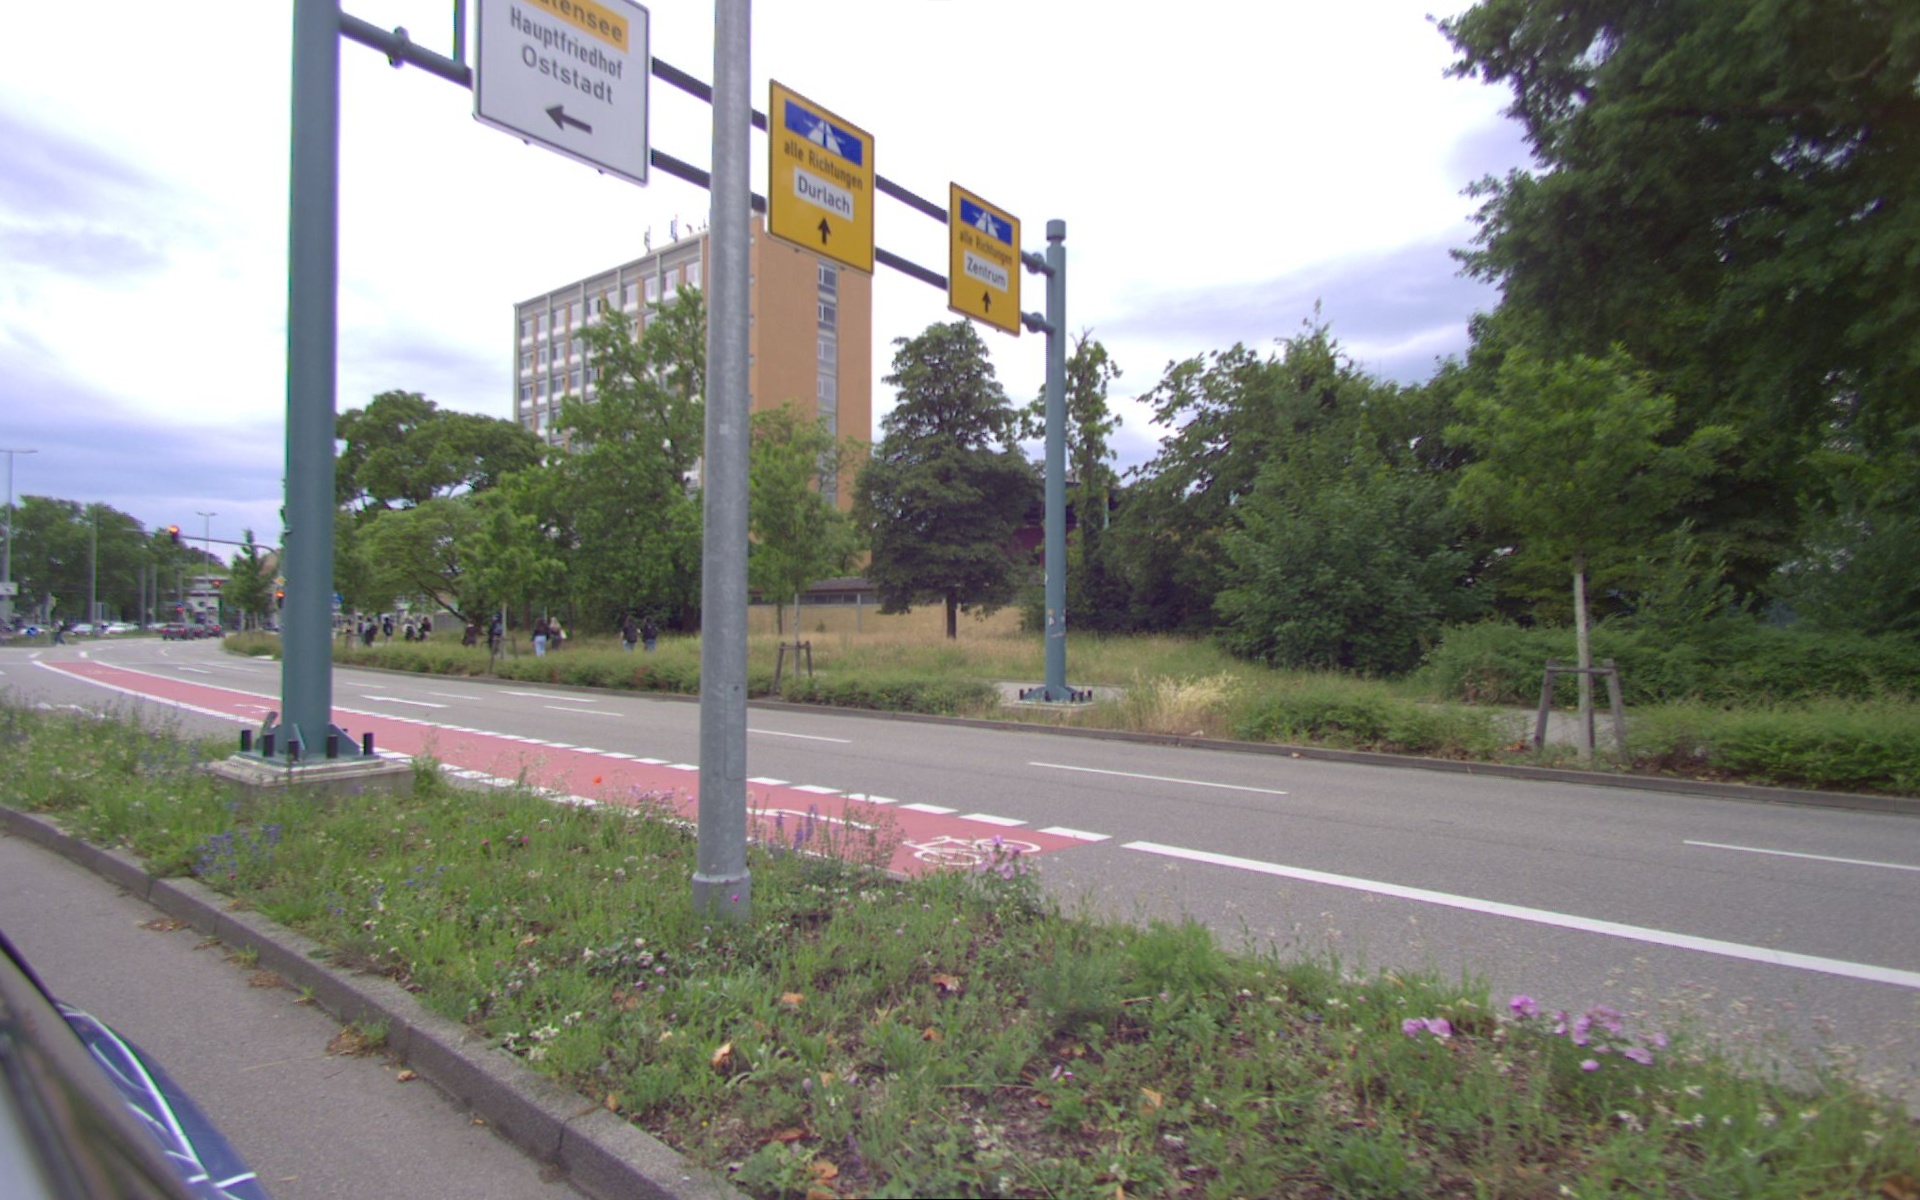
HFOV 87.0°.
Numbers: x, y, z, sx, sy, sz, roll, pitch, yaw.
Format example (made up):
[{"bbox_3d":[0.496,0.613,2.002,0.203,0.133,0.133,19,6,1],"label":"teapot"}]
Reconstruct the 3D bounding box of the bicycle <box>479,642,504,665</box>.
[{"bbox_3d":[-18.482,2.106,39.883,0.652,0.894,1.719,2,-3,-33],"label":"bicycle"}]

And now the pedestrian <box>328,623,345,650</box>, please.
[{"bbox_3d":[-38.292,2.238,62.193,0.698,1.683,0.944,1,-2,-44],"label":"pedestrian"}]

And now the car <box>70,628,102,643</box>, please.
[{"bbox_3d":[-96.239,3.934,111.501,1.582,1.608,3.771,2,-3,-23],"label":"car"}]

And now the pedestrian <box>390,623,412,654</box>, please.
[{"bbox_3d":[-29.848,2.053,54.012,0.824,1.625,0.630,-2,-1,21],"label":"pedestrian"}]

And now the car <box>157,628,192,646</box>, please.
[{"bbox_3d":[-74.299,3.491,95.744,1.785,1.680,3.962,2,-2,-26],"label":"car"}]

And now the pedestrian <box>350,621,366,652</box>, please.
[{"bbox_3d":[-35.429,2.149,59.594,0.630,1.815,0.762,1,-2,-44],"label":"pedestrian"}]

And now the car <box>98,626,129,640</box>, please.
[{"bbox_3d":[-100.462,3.893,120.116,1.774,1.608,3.771,2,-3,-23],"label":"car"}]

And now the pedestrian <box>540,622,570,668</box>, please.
[{"bbox_3d":[-14.943,1.653,37.327,0.766,1.685,0.700,-2,-4,36],"label":"pedestrian"}]

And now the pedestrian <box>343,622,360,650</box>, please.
[{"bbox_3d":[-37.827,2.216,62.870,0.698,1.683,0.890,-1,-1,-44],"label":"pedestrian"}]

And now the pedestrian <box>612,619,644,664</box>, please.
[{"bbox_3d":[-10.371,1.297,31.602,0.711,1.368,0.638,-2,-4,41],"label":"pedestrian"}]

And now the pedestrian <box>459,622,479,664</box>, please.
[{"bbox_3d":[-19.067,1.685,39.310,0.567,1.621,0.618,2,-3,-32],"label":"pedestrian"}]

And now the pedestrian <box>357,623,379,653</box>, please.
[{"bbox_3d":[-29.361,1.898,50.165,0.720,1.491,0.813,3,-4,-44],"label":"pedestrian"}]

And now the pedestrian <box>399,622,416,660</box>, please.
[{"bbox_3d":[-25.254,1.891,46.264,0.613,1.708,0.749,2,-3,-29],"label":"pedestrian"}]

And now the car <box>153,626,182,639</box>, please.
[{"bbox_3d":[-102.903,4.192,131.445,1.583,1.608,3.770,1,-3,-17],"label":"car"}]

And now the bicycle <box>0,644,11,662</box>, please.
[{"bbox_3d":[-63.558,3.456,66.251,0.807,1.151,1.977,-2,-4,44],"label":"bicycle"}]

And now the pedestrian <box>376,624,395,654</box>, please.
[{"bbox_3d":[-28.873,1.941,50.891,0.628,1.491,0.762,3,-4,-44],"label":"pedestrian"}]

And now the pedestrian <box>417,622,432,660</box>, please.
[{"bbox_3d":[-24.847,1.897,46.937,0.570,1.725,0.764,2,-3,-28],"label":"pedestrian"}]

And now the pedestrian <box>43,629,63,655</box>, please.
[{"bbox_3d":[-59.615,2.768,66.519,0.705,1.680,0.768,-1,-3,34],"label":"pedestrian"}]

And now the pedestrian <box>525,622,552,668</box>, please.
[{"bbox_3d":[-15.311,1.637,36.772,0.719,1.673,0.580,-2,-4,36],"label":"pedestrian"}]

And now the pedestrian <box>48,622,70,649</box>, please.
[{"bbox_3d":[-60.934,2.407,68.432,0.735,1.818,0.763,-1,-3,20],"label":"pedestrian"}]

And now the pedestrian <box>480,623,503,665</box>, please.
[{"bbox_3d":[-18.475,1.724,39.895,0.652,1.644,0.765,2,-3,-33],"label":"pedestrian"}]

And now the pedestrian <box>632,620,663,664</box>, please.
[{"bbox_3d":[-9.941,1.349,32.205,0.680,1.373,0.638,-2,-4,40],"label":"pedestrian"}]
